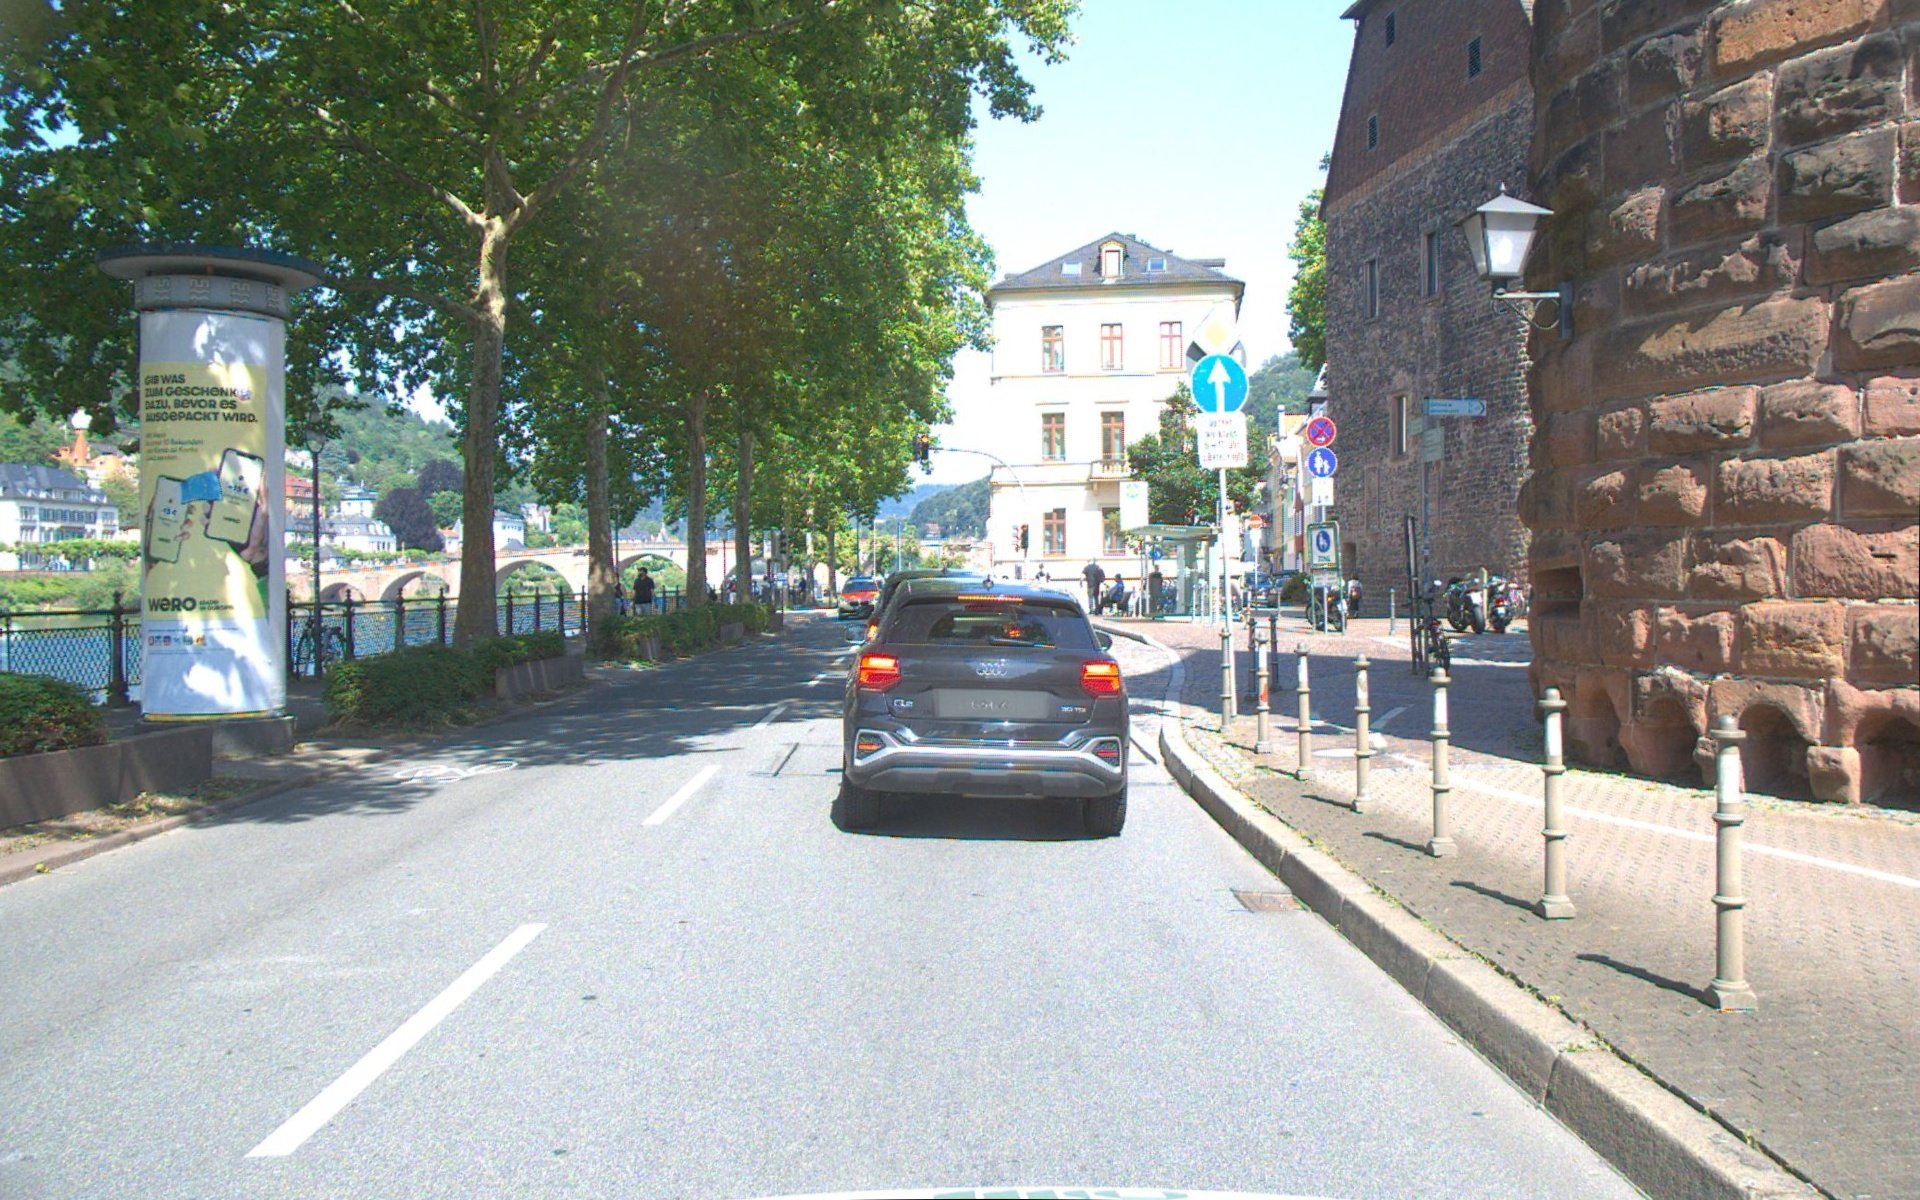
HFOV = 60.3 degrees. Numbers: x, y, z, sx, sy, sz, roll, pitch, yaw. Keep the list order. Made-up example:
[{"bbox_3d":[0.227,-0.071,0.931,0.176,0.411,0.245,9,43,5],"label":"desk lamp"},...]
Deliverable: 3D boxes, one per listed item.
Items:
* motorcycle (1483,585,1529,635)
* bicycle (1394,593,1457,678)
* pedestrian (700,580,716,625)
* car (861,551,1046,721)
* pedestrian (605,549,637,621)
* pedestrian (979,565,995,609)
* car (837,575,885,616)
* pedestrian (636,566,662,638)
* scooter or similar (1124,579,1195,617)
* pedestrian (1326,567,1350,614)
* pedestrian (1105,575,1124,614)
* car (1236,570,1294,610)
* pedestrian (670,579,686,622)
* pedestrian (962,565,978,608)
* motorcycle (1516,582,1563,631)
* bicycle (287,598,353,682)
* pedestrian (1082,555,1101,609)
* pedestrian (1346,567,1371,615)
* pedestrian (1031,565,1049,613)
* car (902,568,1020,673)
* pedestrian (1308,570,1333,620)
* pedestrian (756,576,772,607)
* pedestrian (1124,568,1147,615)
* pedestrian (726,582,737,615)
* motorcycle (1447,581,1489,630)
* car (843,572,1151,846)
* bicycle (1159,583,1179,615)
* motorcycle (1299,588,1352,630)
[{"bbox_3d":[11.338,0.199,34.367,0.449,0.990,1.466,1,0,0],"label":"motorcycle"},{"bbox_3d":[6.041,0.432,21.530,0.485,1.048,2.052,0,0,7],"label":"bicycle"},{"bbox_3d":[-9.380,0.093,61.638,0.507,1.666,0.438,-2,0,-8],"label":"pedestrian"},{"bbox_3d":[-0.072,0.330,18.091,1.764,1.589,3.715,-2,1,0],"label":"car"},{"bbox_3d":[-8.459,-0.375,41.277,0.632,1.747,0.665,-2,0,-4],"label":"pedestrian"},{"bbox_3d":[1.003,-0.466,60.758,0.545,1.585,0.660,1,0,0],"label":"pedestrian"},{"bbox_3d":[-3.985,-0.199,67.030,1.581,1.549,3.477,-2,1,1],"label":"car"},{"bbox_3d":[-7.777,0.045,41.345,0.552,1.772,0.665,0,0,-4],"label":"pedestrian"},{"bbox_3d":[5.352,-0.056,44.396,1.808,0.980,0.429,2,0,-2],"label":"scooter or similar"},{"bbox_3d":[12.461,-0.310,54.572,0.644,1.544,0.548,1,0,1],"label":"pedestrian"},{"bbox_3d":[4.918,-0.178,52.821,0.535,1.222,0.522,1,0,0],"label":"pedestrian"},{"bbox_3d":[14.227,-0.459,77.334,1.953,1.746,4.000,2,0,0],"label":"car"},{"bbox_3d":[-10.429,0.032,61.201,0.488,1.564,0.678,-3,0,-8],"label":"pedestrian"},{"bbox_3d":[0.377,-0.487,61.340,0.545,1.585,0.660,1,0,0],"label":"pedestrian"},{"bbox_3d":[12.279,0.129,35.073,0.449,0.990,1.466,1,0,0],"label":"motorcycle"},{"bbox_3d":[-9.544,0.573,24.728,0.350,1.182,1.825,1,0,-3],"label":"bicycle"},{"bbox_3d":[4.146,-0.568,52.206,0.545,1.661,0.660,1,0,0],"label":"pedestrian"},{"bbox_3d":[13.158,-0.290,54.579,0.644,1.544,0.627,1,0,1],"label":"pedestrian"},{"bbox_3d":[2.648,-0.364,54.852,0.545,1.585,0.660,1,0,0],"label":"pedestrian"},{"bbox_3d":[0.001,0.293,27.076,1.764,1.549,3.715,-1,1,0],"label":"car"},{"bbox_3d":[11.140,-0.166,51.097,0.644,1.519,0.548,1,0,1],"label":"pedestrian"},{"bbox_3d":[-8.306,-0.352,70.213,0.579,1.301,0.525,1,0,-1],"label":"pedestrian"},{"bbox_3d":[6.030,-0.299,56.897,0.731,1.585,0.588,1,0,0],"label":"pedestrian"},{"bbox_3d":[-10.198,-0.081,73.728,0.401,1.450,0.457,1,0,-4],"label":"pedestrian"},{"bbox_3d":[10.633,0.107,34.665,0.427,0.990,1.359,1,0,0],"label":"motorcycle"},{"bbox_3d":[0.157,0.595,11.163,1.713,1.520,3.628,1,1,-2],"label":"car"},{"bbox_3d":[6.650,-0.030,52.657,0.441,0.991,1.399,1,0,0],"label":"bicycle"},{"bbox_3d":[7.708,0.174,34.960,0.474,0.832,2.278,-2,1,-3],"label":"motorcycle"}]
